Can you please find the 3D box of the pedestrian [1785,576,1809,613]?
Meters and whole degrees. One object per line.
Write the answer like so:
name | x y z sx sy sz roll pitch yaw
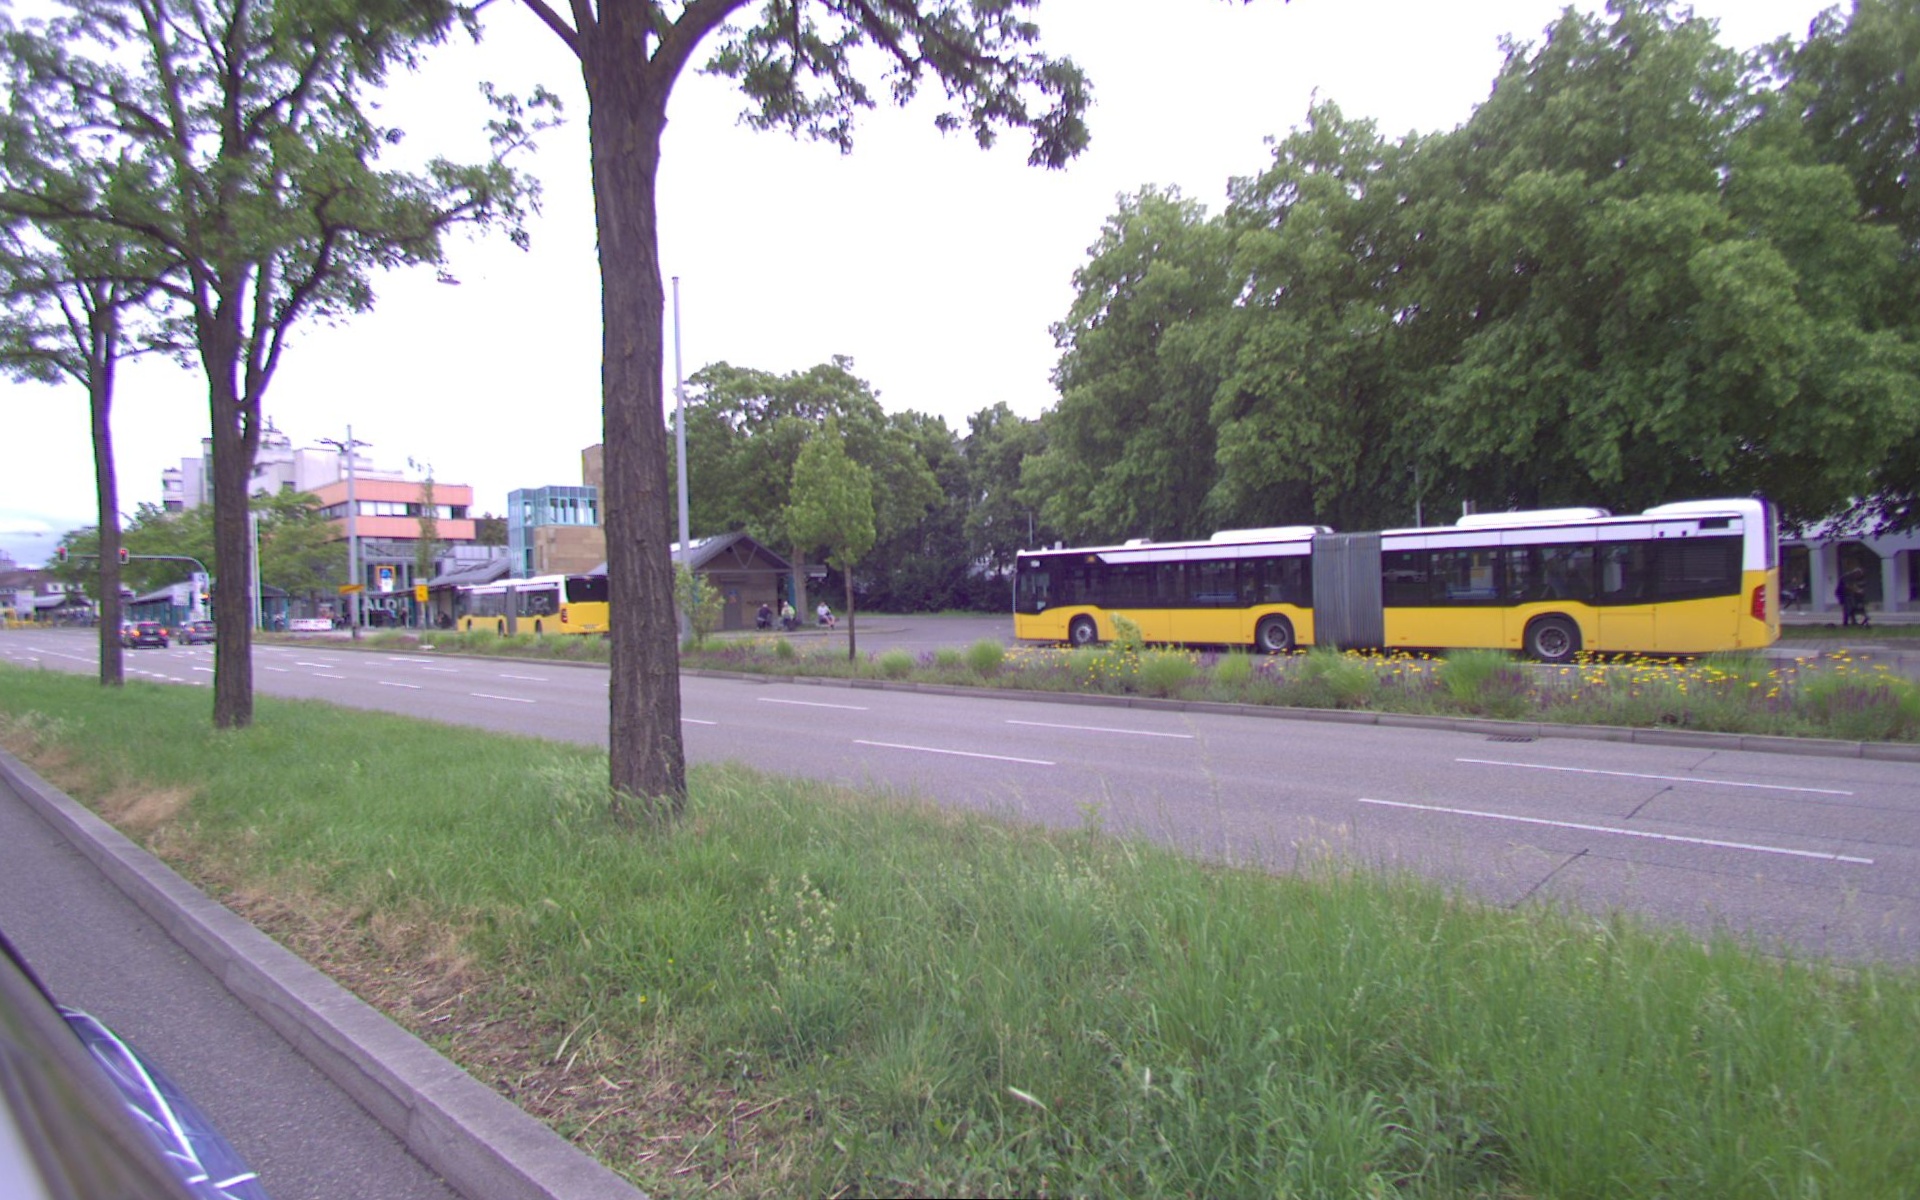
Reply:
pedestrian | 35.280 -0.232 42.661 0.649 1.559 0.668 -1 -1 -41

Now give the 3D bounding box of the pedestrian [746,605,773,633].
pedestrian | -9.164 0.853 46.292 0.887 1.264 0.854 -2 -1 13

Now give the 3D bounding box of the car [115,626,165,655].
car | -46.188 2.230 56.989 3.768 1.519 1.641 -1 0 42

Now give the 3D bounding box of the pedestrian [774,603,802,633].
pedestrian | -7.622 0.800 44.828 0.888 1.300 0.853 -2 -1 18

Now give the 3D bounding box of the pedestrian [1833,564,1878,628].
pedestrian | 24.359 -0.099 27.530 0.857 1.701 0.450 -2 -1 41

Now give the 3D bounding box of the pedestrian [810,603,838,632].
pedestrian | -6.142 0.788 45.572 0.858 1.264 0.883 -2 -1 42

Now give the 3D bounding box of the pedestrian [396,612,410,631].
pedestrian | -45.429 1.744 82.532 0.583 1.472 0.992 -2 0 -1

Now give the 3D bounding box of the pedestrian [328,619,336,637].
pedestrian | -55.780 2.491 89.888 0.521 1.559 0.756 -2 0 -33

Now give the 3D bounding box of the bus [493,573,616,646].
bus | -20.133 0.518 49.840 2.775 3.155 9.315 -4 1 -40

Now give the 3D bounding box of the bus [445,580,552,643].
bus | -26.010 0.708 56.724 2.742 3.155 9.451 -4 1 -41

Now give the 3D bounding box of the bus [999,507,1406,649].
bus | 6.104 -0.441 27.701 3.049 3.186 10.742 -4 1 -45

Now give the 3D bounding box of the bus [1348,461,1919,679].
bus | 13.344 -0.443 20.319 2.997 3.481 9.917 -3 1 -45

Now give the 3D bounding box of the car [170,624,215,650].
car | -48.375 2.320 63.782 1.794 1.519 4.003 -1 0 -44

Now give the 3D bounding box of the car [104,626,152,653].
car | -50.680 2.405 61.639 3.789 1.476 1.726 -3 -1 43
